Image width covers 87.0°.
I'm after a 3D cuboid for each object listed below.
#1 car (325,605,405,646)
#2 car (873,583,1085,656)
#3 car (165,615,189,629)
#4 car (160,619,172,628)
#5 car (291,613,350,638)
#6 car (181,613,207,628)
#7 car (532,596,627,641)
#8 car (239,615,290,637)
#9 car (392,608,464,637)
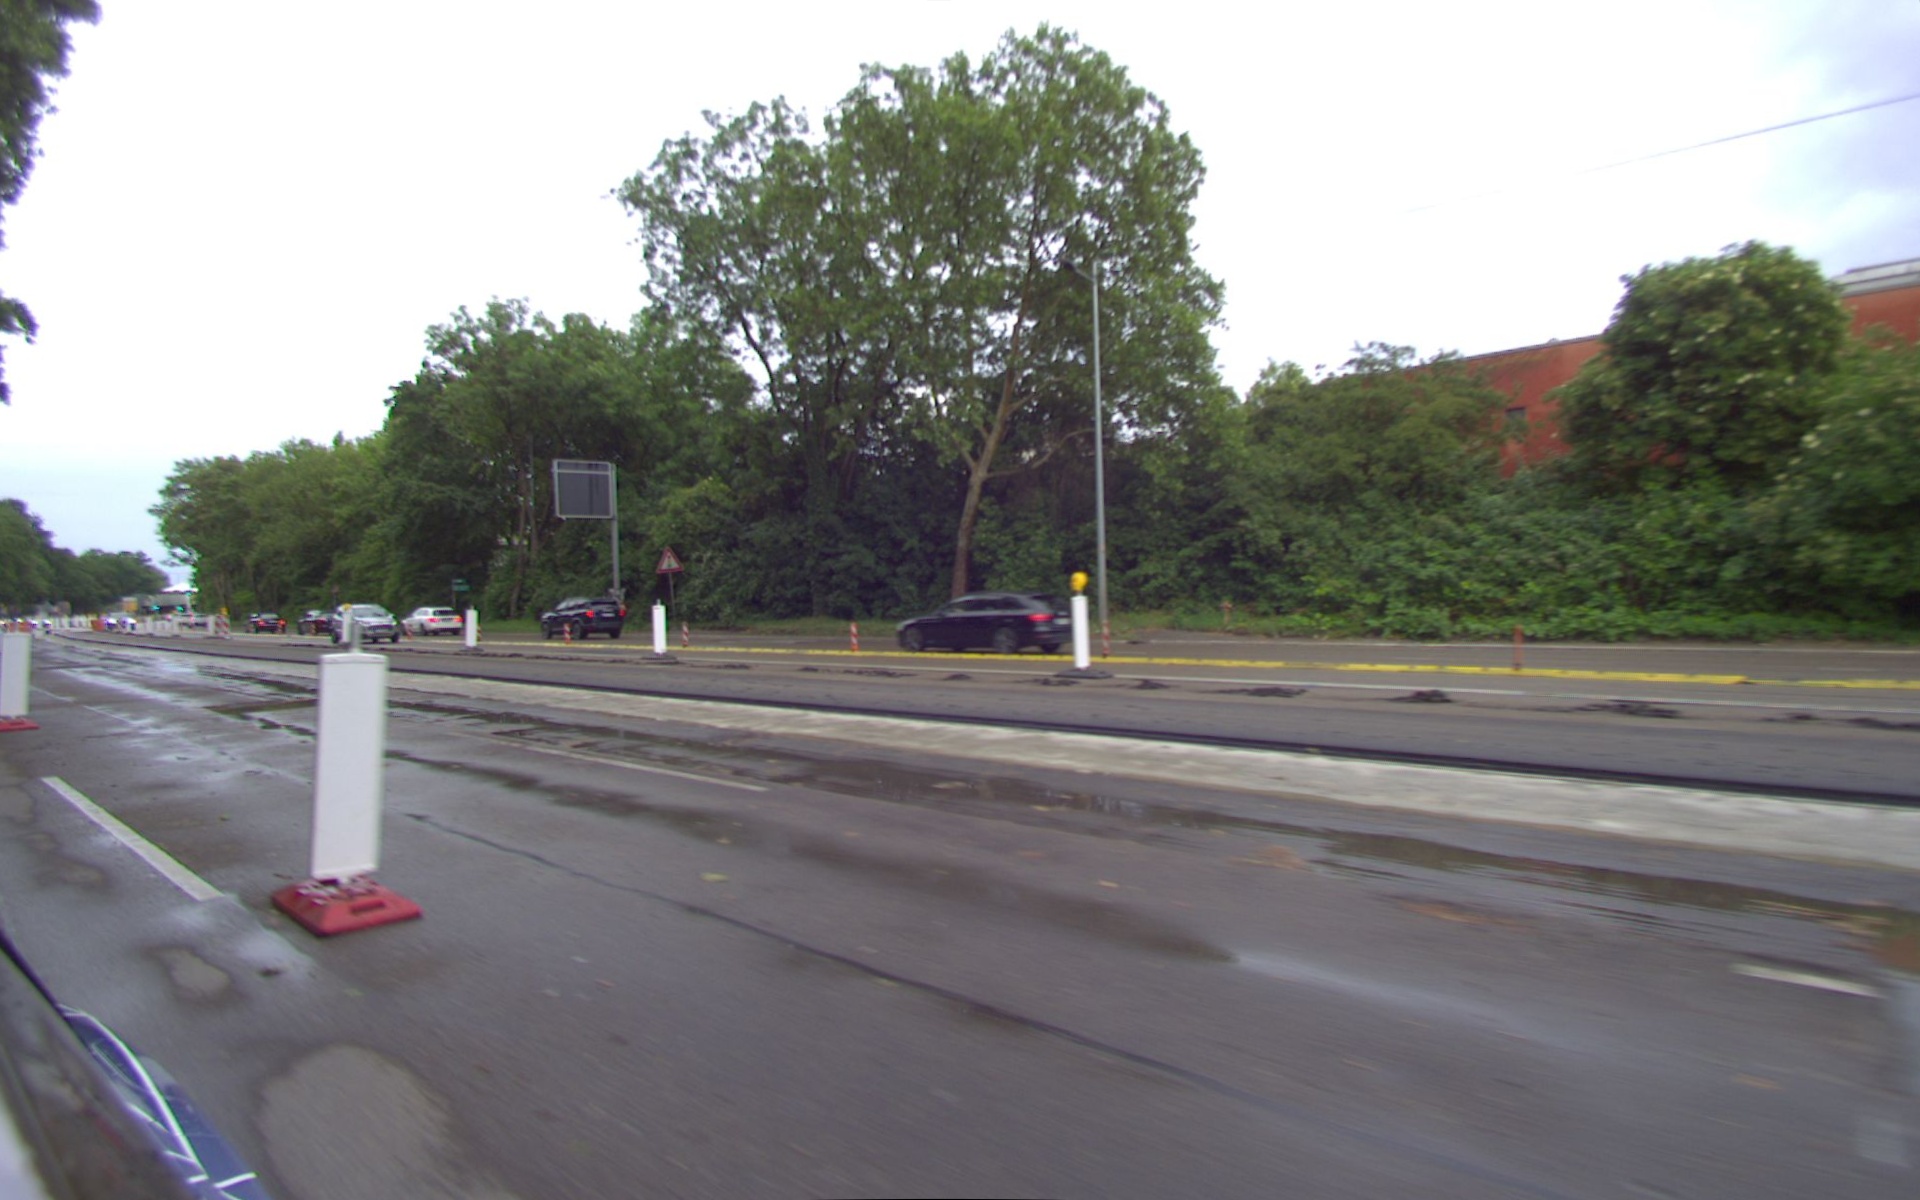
[{"bbox_3d":[-24.846,1.038,42.202,3.860,1.596,1.770,-1,0,42],"label":"car"},{"bbox_3d":[0.333,0.432,23.293,4.897,1.495,1.742,-1,0,41],"label":"car"},{"bbox_3d":[-99.588,2.809,128.706,4.380,1.764,1.757,-1,-1,43],"label":"car"},{"bbox_3d":[-144.743,4.273,184.469,1.761,1.437,4.478,-1,-1,-38],"label":"car"},{"bbox_3d":[-36.462,1.442,57.667,4.203,1.366,1.798,-2,-1,42],"label":"car"},{"bbox_3d":[-83.960,2.279,110.880,4.158,1.553,1.648,-1,-3,44],"label":"car"},{"bbox_3d":[-15.486,0.749,41.059,4.531,1.698,1.636,-2,1,42],"label":"car"},{"bbox_3d":[-46.226,1.722,67.212,4.388,1.366,1.798,-2,-1,42],"label":"car"},{"bbox_3d":[-27.808,1.176,52.829,4.601,1.430,1.799,-2,1,42],"label":"car"}]
